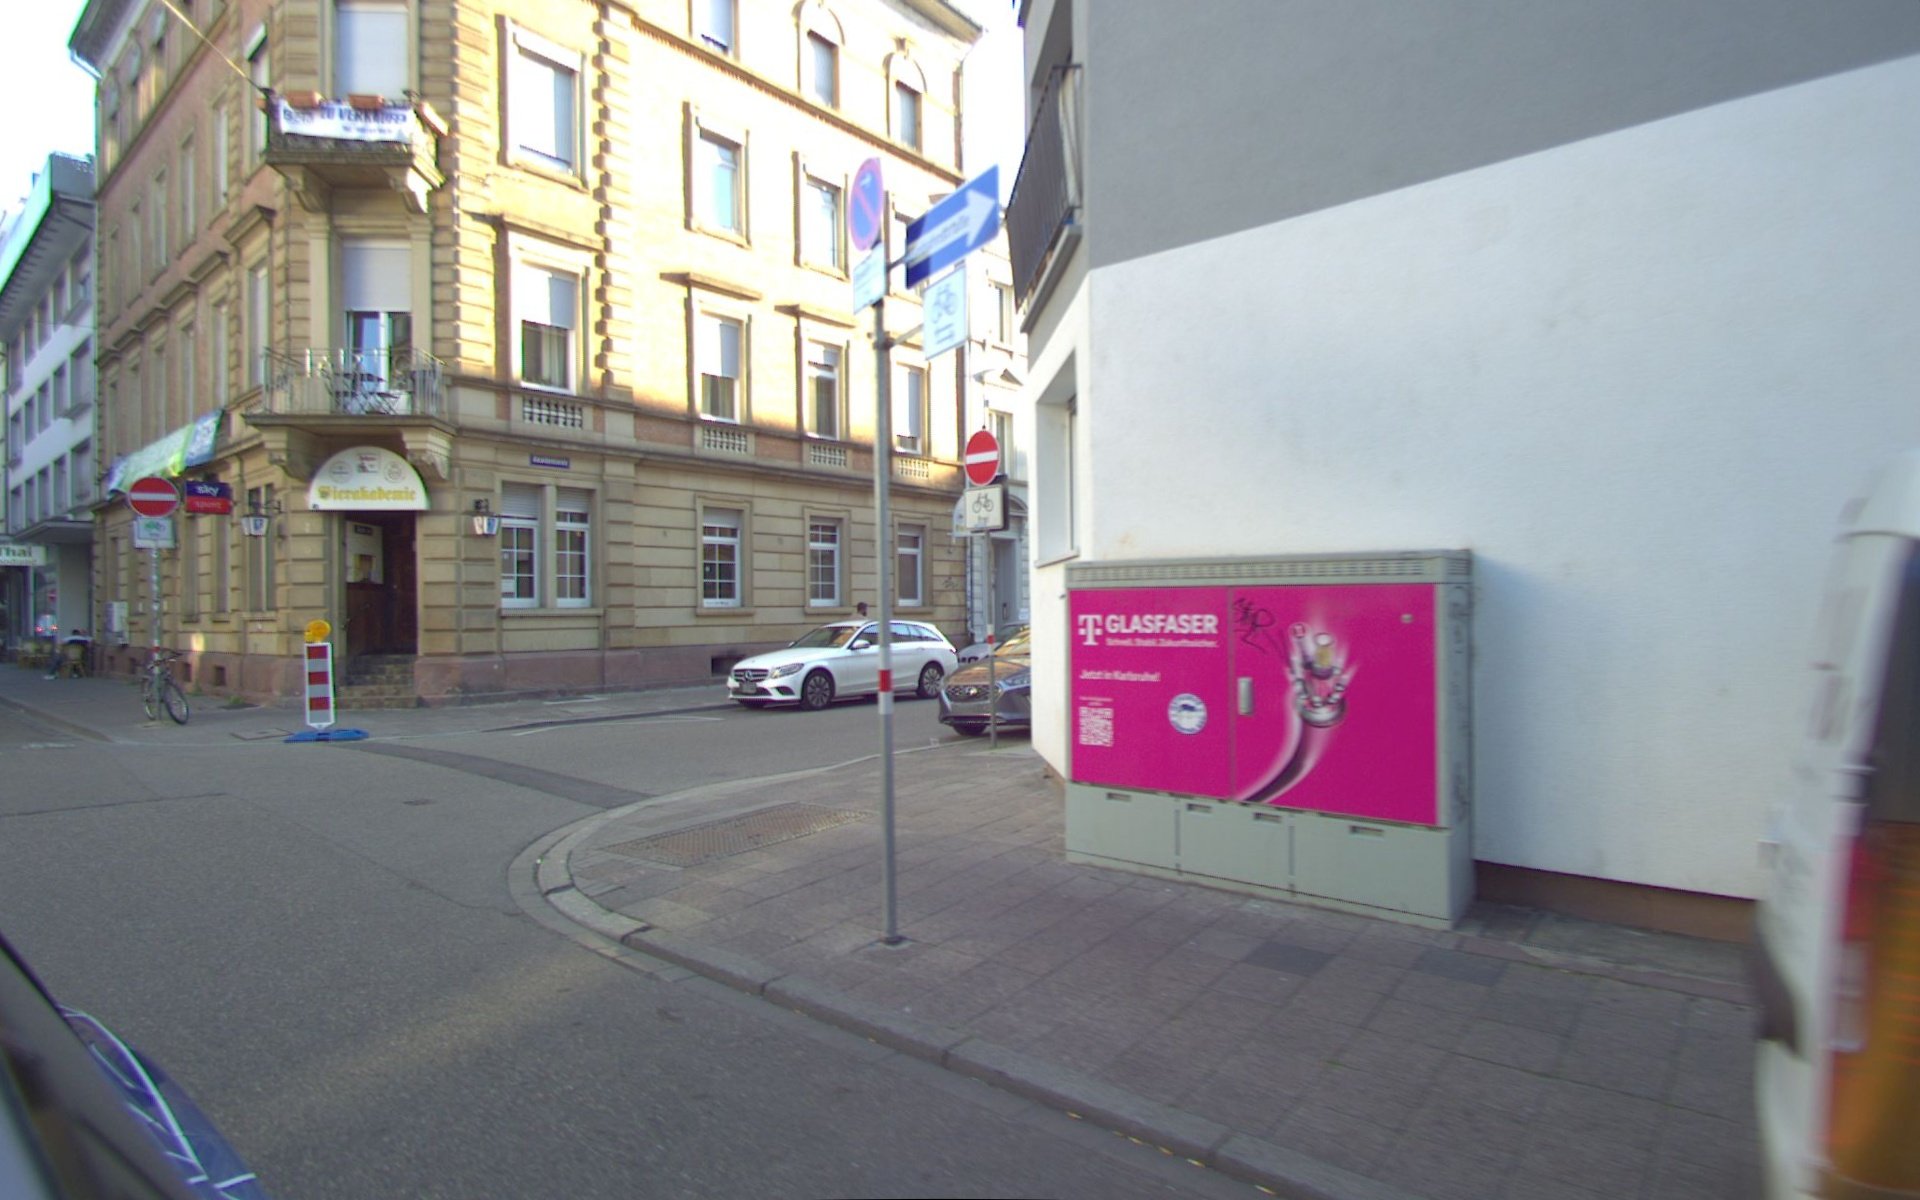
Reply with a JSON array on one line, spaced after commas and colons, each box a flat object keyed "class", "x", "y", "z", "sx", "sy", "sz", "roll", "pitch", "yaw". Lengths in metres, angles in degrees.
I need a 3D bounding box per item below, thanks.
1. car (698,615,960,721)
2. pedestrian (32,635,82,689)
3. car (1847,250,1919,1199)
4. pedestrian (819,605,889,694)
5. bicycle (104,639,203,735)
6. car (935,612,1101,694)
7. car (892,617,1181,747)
[{"class": "car", "x": -2.155, "y": 1.098, "z": 17.810, "sx": 1.997, "sy": 1.576, "sz": 4.448, "roll": -2, "pitch": -2, "yaw": 38}, {"class": "pedestrian", "x": -23.610, "y": 1.612, "z": 26.473, "sx": 0.824, "sy": 1.349, "sz": 0.808, "roll": 0, "pitch": -1, "yaw": -29}, {"class": "car", "x": 3.178, "y": 0.468, "z": 0.372, "sx": 4.182, "sy": 1.827, "sz": 1.614, "roll": -2, "pitch": -2, "yaw": 40}, {"class": "pedestrian", "x": -2.158, "y": 0.993, "z": 20.608, "sx": 0.982, "sy": 1.755, "sz": 1.005, "roll": -2, "pitch": -1, "yaw": 34}, {"class": "bicycle", "x": -11.820, "y": 1.237, "z": 14.819, "sx": 1.760, "sy": 1.284, "sz": 0.652, "roll": -2, "pitch": 2, "yaw": 37}, {"class": "car", "x": 1.322, "y": 1.076, "z": 21.789, "sx": 1.629, "sy": 1.589, "sz": 3.702, "roll": -2, "pitch": -2, "yaw": 41}, {"class": "car", "x": 1.112, "y": 0.977, "z": 13.157, "sx": 1.942, "sy": 1.383, "sz": 3.739, "roll": -4, "pitch": -3, "yaw": 39}]
